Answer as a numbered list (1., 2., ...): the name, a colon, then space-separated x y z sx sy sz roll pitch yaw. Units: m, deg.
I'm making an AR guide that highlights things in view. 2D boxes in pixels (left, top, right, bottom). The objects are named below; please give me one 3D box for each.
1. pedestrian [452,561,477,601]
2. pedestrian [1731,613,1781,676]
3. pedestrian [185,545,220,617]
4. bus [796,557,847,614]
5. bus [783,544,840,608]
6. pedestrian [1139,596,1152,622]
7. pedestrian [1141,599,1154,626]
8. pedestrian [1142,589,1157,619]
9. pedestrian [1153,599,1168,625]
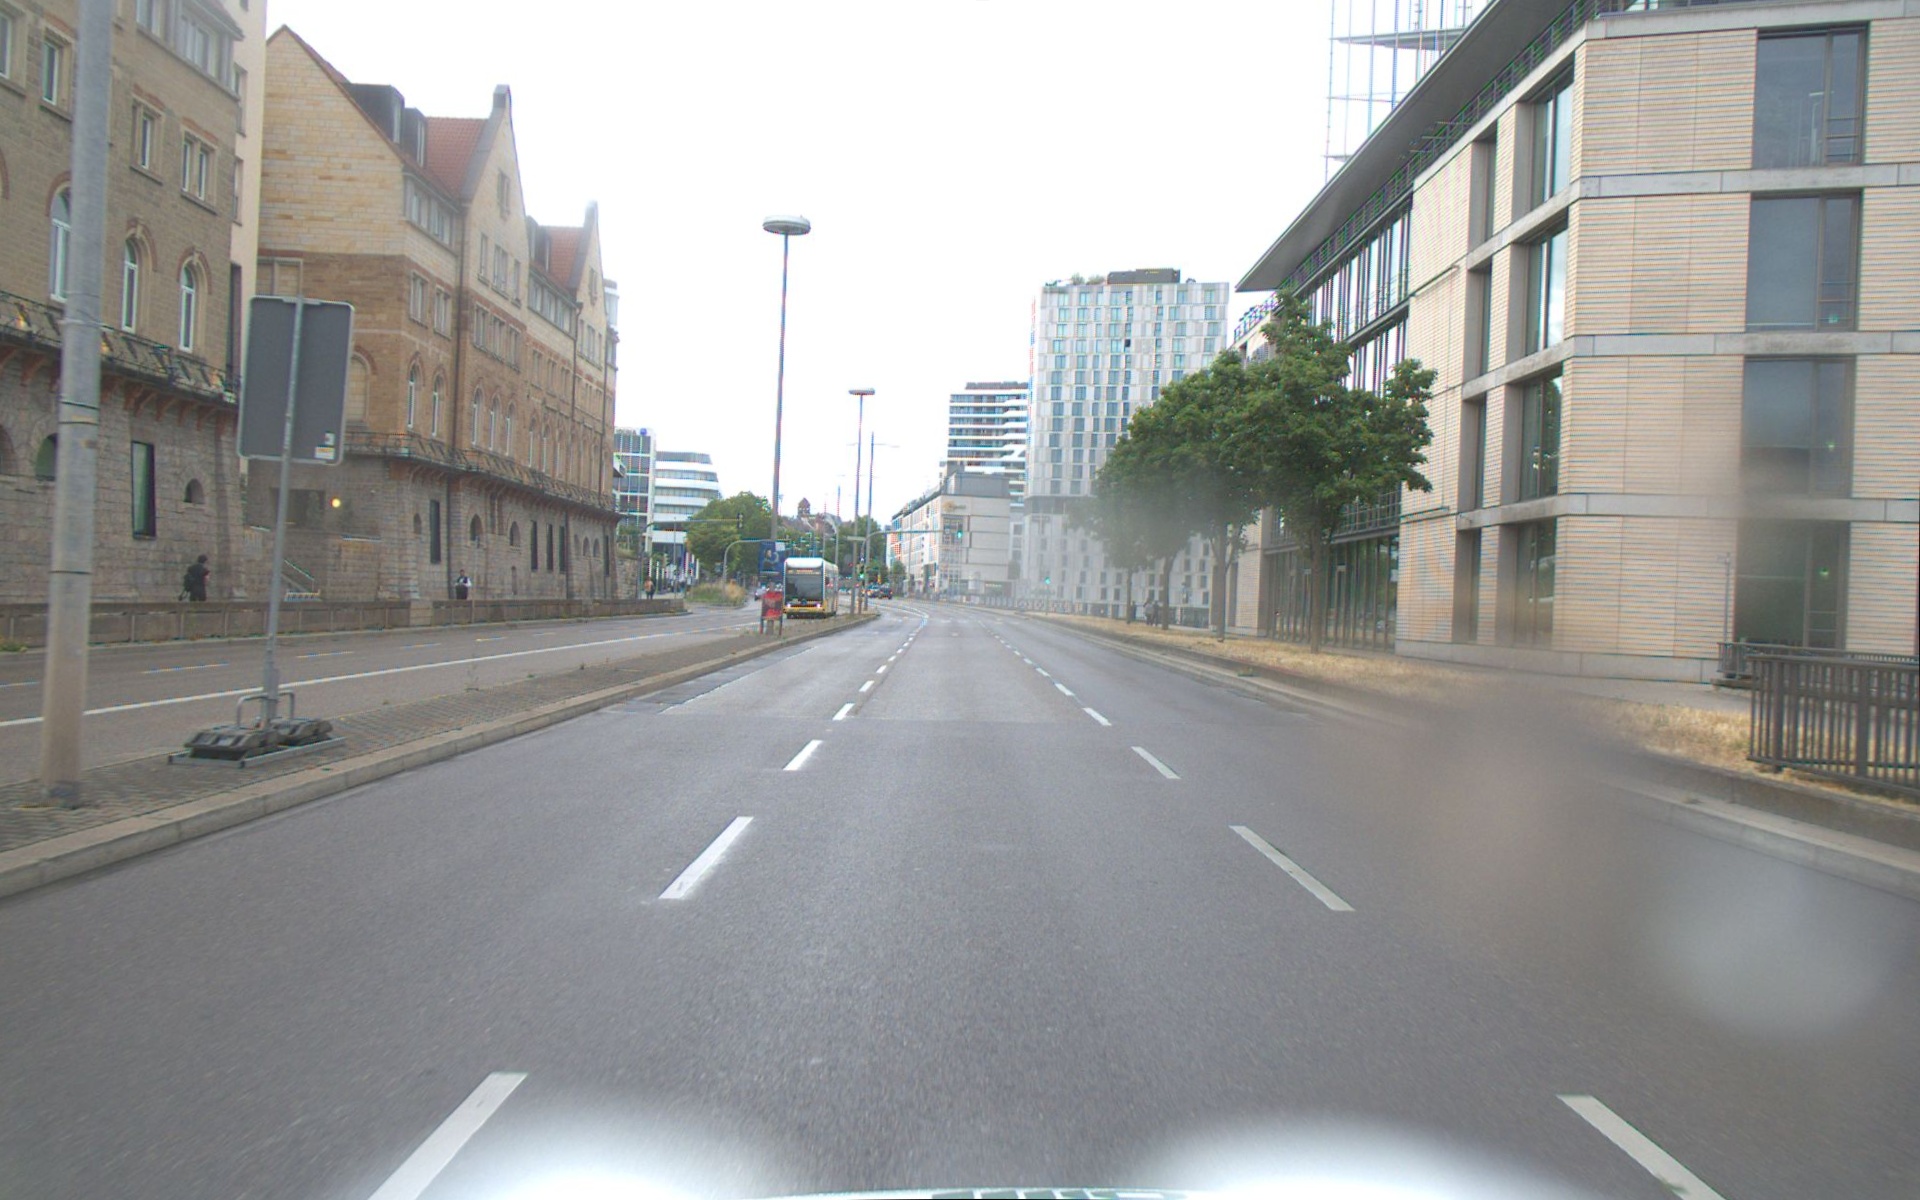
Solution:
1. pedestrian: -19.150 -0.739 63.911 0.739 1.503 0.714 1 1 -1
2. pedestrian: 17.930 0.990 37.267 0.857 1.363 0.970 1 1 17
3. pedestrian: -19.154 -0.486 41.837 0.628 1.776 0.620 1 1 -5
4. bus: -9.152 -0.963 110.418 2.643 3.621 10.092 1 1 -1
5. bus: -8.866 -1.351 99.495 2.643 3.621 10.091 1 0 -1
6. pedestrian: 11.705 0.584 104.191 0.540 1.605 0.669 2 2 33
7. pedestrian: 11.577 0.772 102.003 0.540 1.605 0.669 2 2 33
8. pedestrian: 11.945 0.249 104.174 0.777 1.873 0.542 0 2 -44
9. pedestrian: 12.422 0.758 102.668 0.658 1.605 0.666 2 2 37
